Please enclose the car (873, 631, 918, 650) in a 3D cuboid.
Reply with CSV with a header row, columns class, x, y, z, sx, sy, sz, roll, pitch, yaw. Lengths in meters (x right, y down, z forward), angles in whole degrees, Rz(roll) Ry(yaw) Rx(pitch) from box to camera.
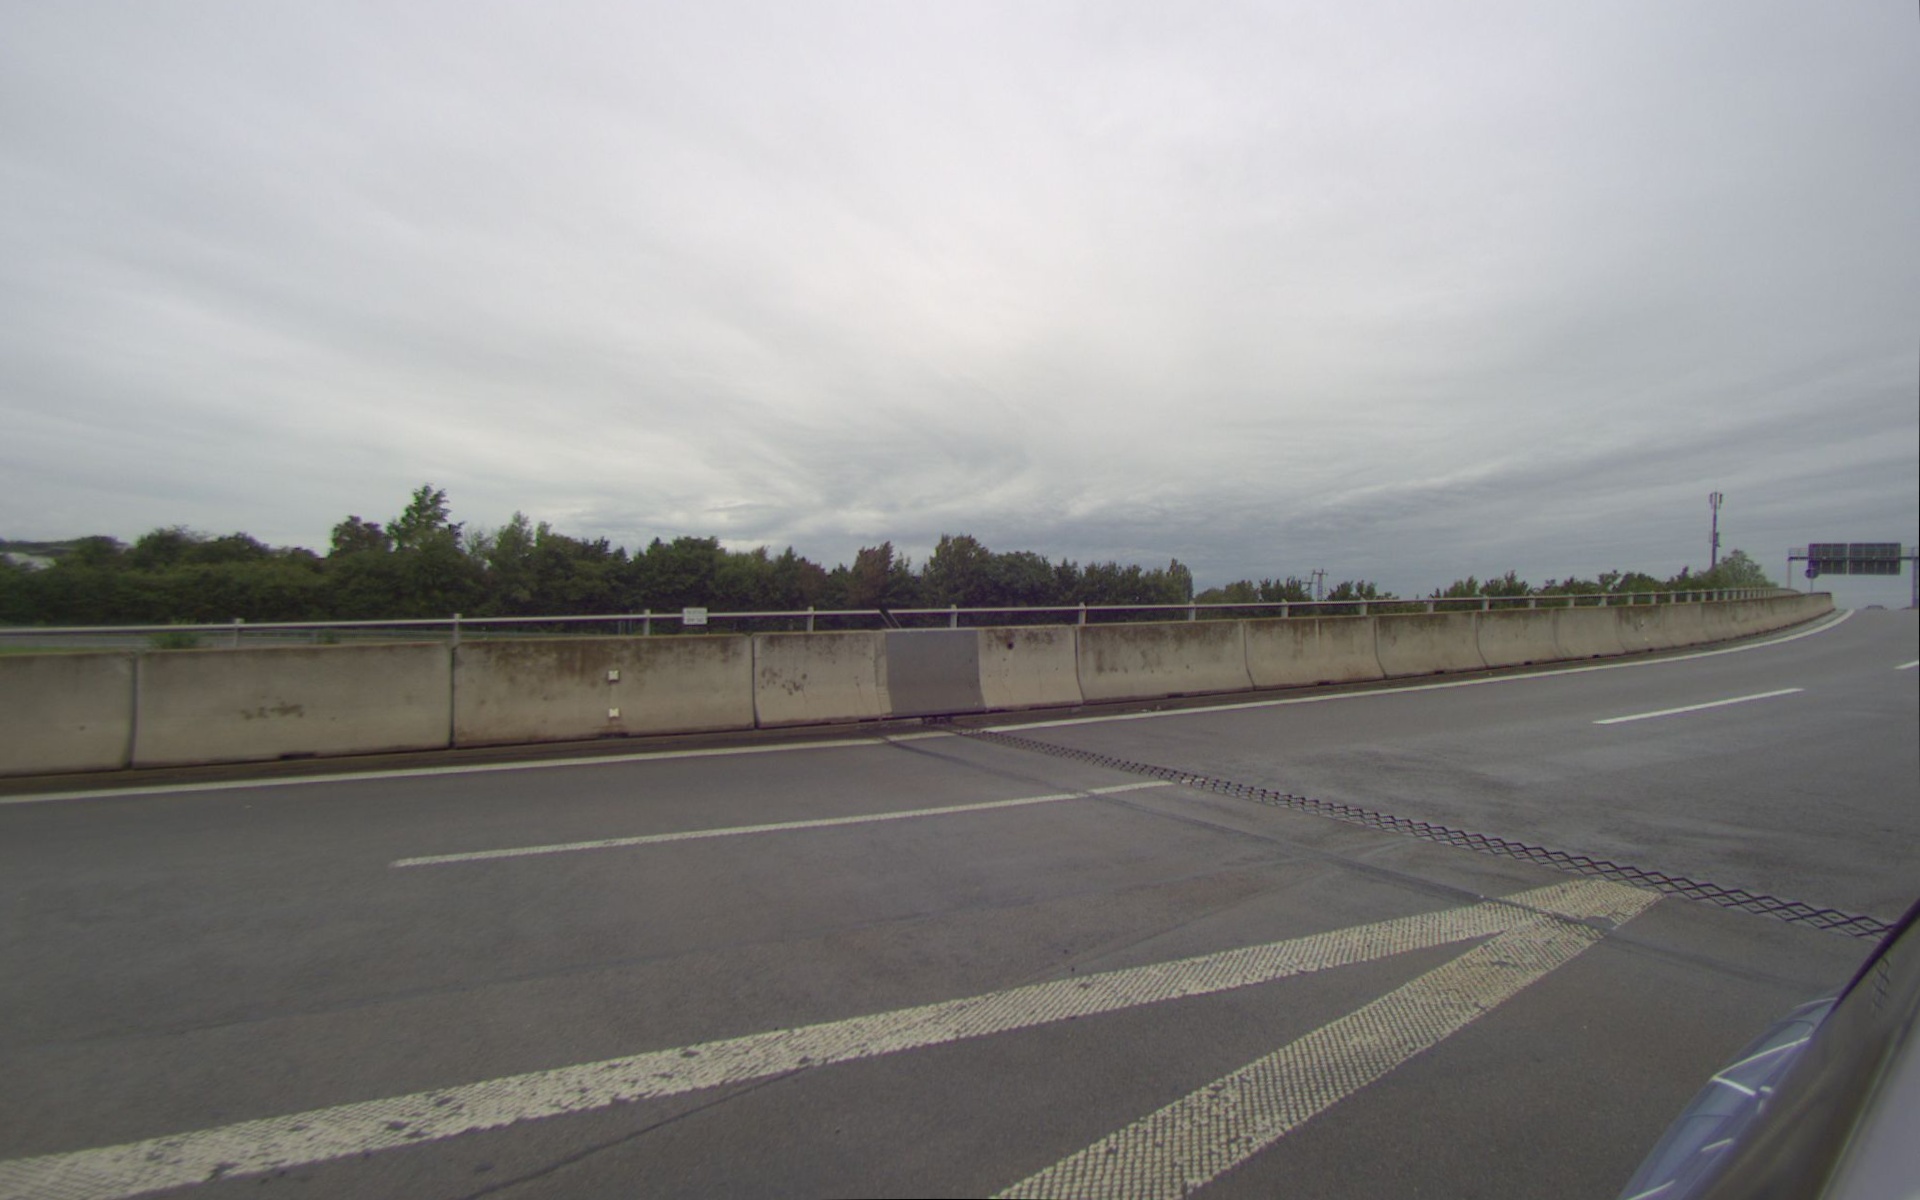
class,x,y,z,sx,sy,sz,roll,pitch,yaw
car,-6.838,4.251,106.851,4.445,1.622,1.715,-3,2,6
